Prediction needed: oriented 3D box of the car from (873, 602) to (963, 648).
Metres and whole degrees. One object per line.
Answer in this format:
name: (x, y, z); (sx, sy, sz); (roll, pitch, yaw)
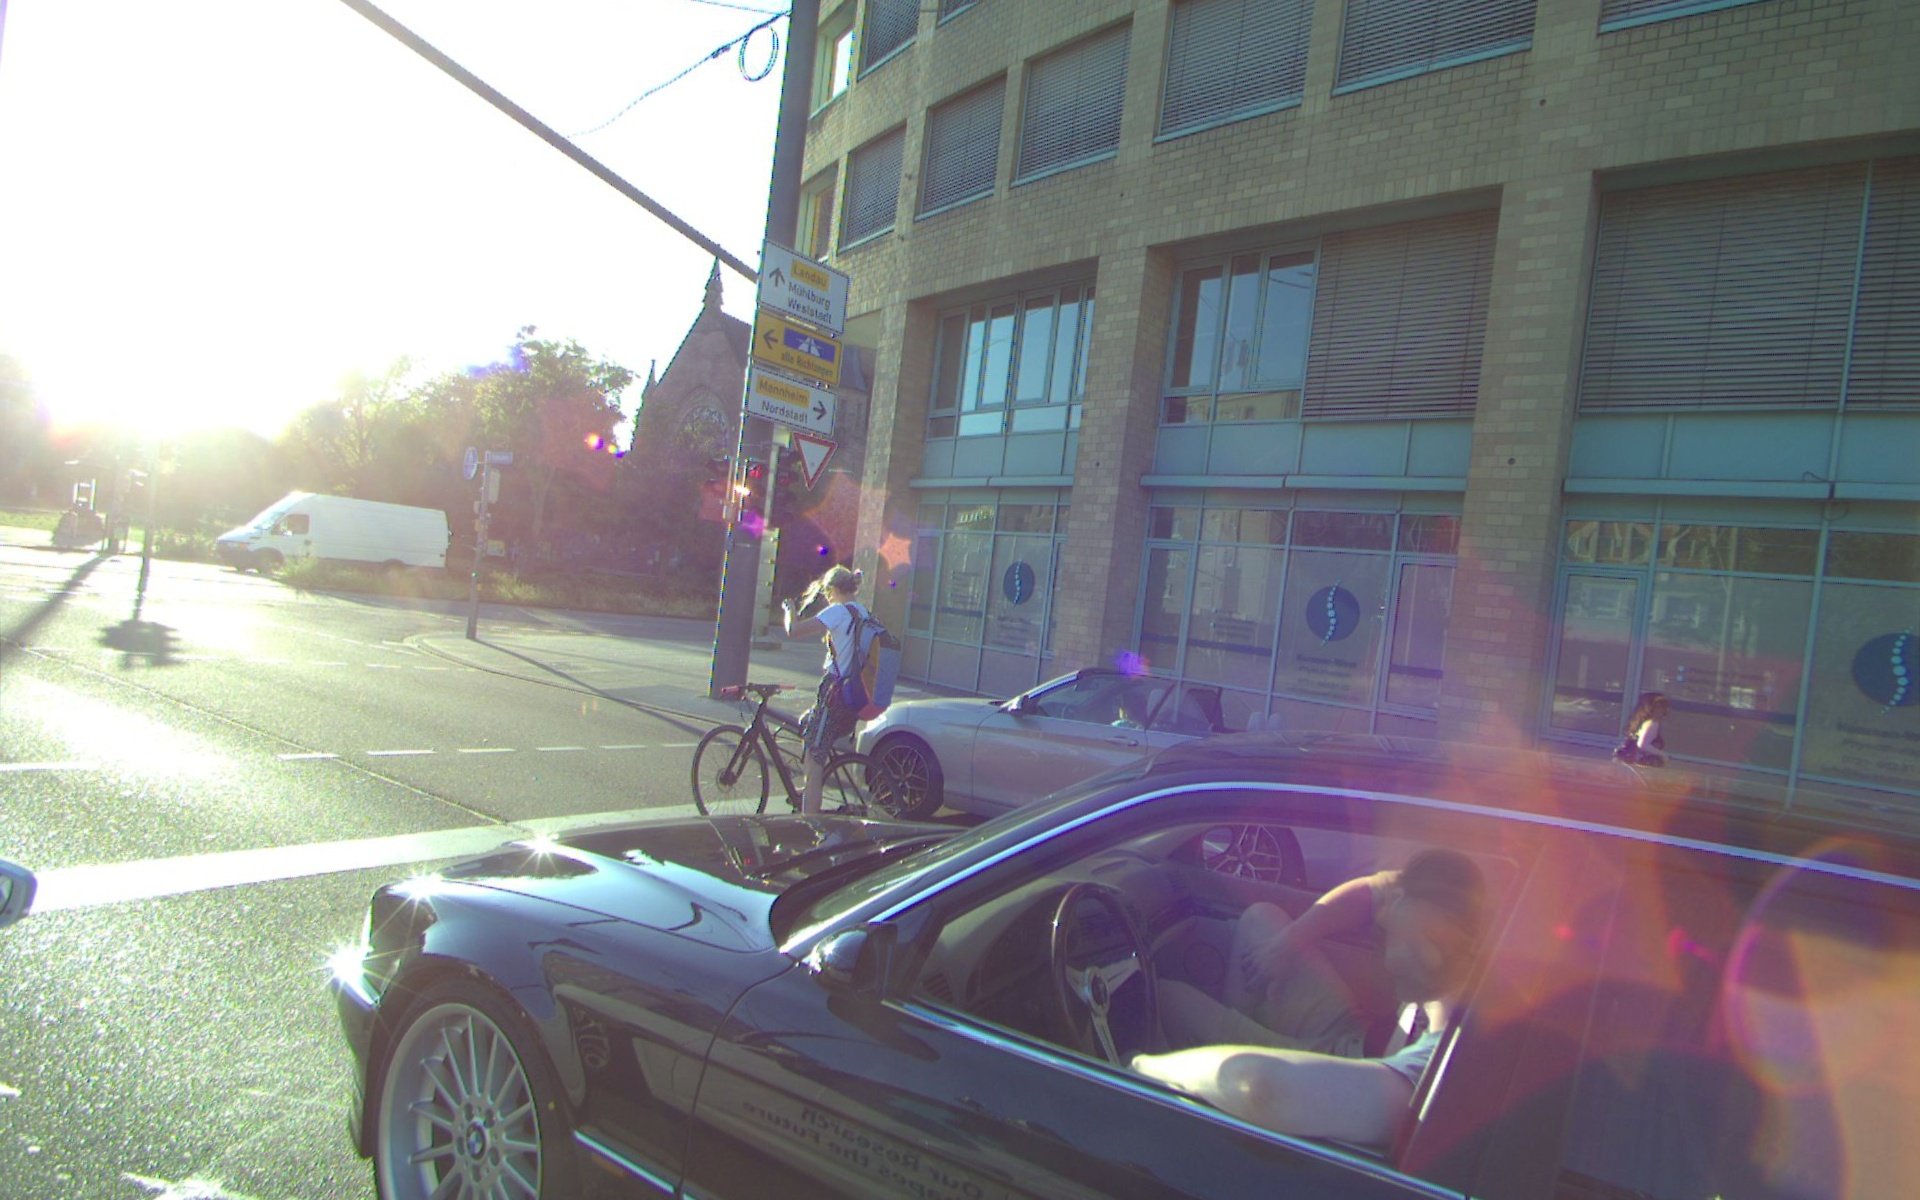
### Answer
car: (-1.779, 1.117, 43.956); (1.691, 1.451, 3.990); (9, -1, 36)

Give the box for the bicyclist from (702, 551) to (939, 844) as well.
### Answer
bicyclist: (-0.814, 0.542, 5.918); (1.020, 1.501, 0.657); (7, -1, 29)

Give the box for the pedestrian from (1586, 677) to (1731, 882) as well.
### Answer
pedestrian: (6.120, 1.536, 8.869); (0.786, 1.589, 0.678); (9, 2, 29)

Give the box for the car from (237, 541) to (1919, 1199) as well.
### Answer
car: (0.828, 0.891, 1.919); (4.563, 1.370, 1.833); (8, 0, 31)

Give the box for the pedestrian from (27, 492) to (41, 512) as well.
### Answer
pedestrian: (-82.461, -8.724, 89.568); (0.795, 1.722, 0.790); (6, 1, -44)

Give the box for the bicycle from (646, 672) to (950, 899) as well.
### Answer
bicycle: (-0.993, 1.035, 5.967); (1.745, 0.966, 0.516); (7, -1, 30)

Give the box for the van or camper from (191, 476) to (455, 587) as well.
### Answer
van or camper: (-21.544, -2.213, 34.469); (2.556, 2.708, 7.048); (9, 1, 33)

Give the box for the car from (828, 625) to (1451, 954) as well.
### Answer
car: (1.262, 1.198, 7.663); (4.195, 1.370, 1.786); (8, 0, 31)
